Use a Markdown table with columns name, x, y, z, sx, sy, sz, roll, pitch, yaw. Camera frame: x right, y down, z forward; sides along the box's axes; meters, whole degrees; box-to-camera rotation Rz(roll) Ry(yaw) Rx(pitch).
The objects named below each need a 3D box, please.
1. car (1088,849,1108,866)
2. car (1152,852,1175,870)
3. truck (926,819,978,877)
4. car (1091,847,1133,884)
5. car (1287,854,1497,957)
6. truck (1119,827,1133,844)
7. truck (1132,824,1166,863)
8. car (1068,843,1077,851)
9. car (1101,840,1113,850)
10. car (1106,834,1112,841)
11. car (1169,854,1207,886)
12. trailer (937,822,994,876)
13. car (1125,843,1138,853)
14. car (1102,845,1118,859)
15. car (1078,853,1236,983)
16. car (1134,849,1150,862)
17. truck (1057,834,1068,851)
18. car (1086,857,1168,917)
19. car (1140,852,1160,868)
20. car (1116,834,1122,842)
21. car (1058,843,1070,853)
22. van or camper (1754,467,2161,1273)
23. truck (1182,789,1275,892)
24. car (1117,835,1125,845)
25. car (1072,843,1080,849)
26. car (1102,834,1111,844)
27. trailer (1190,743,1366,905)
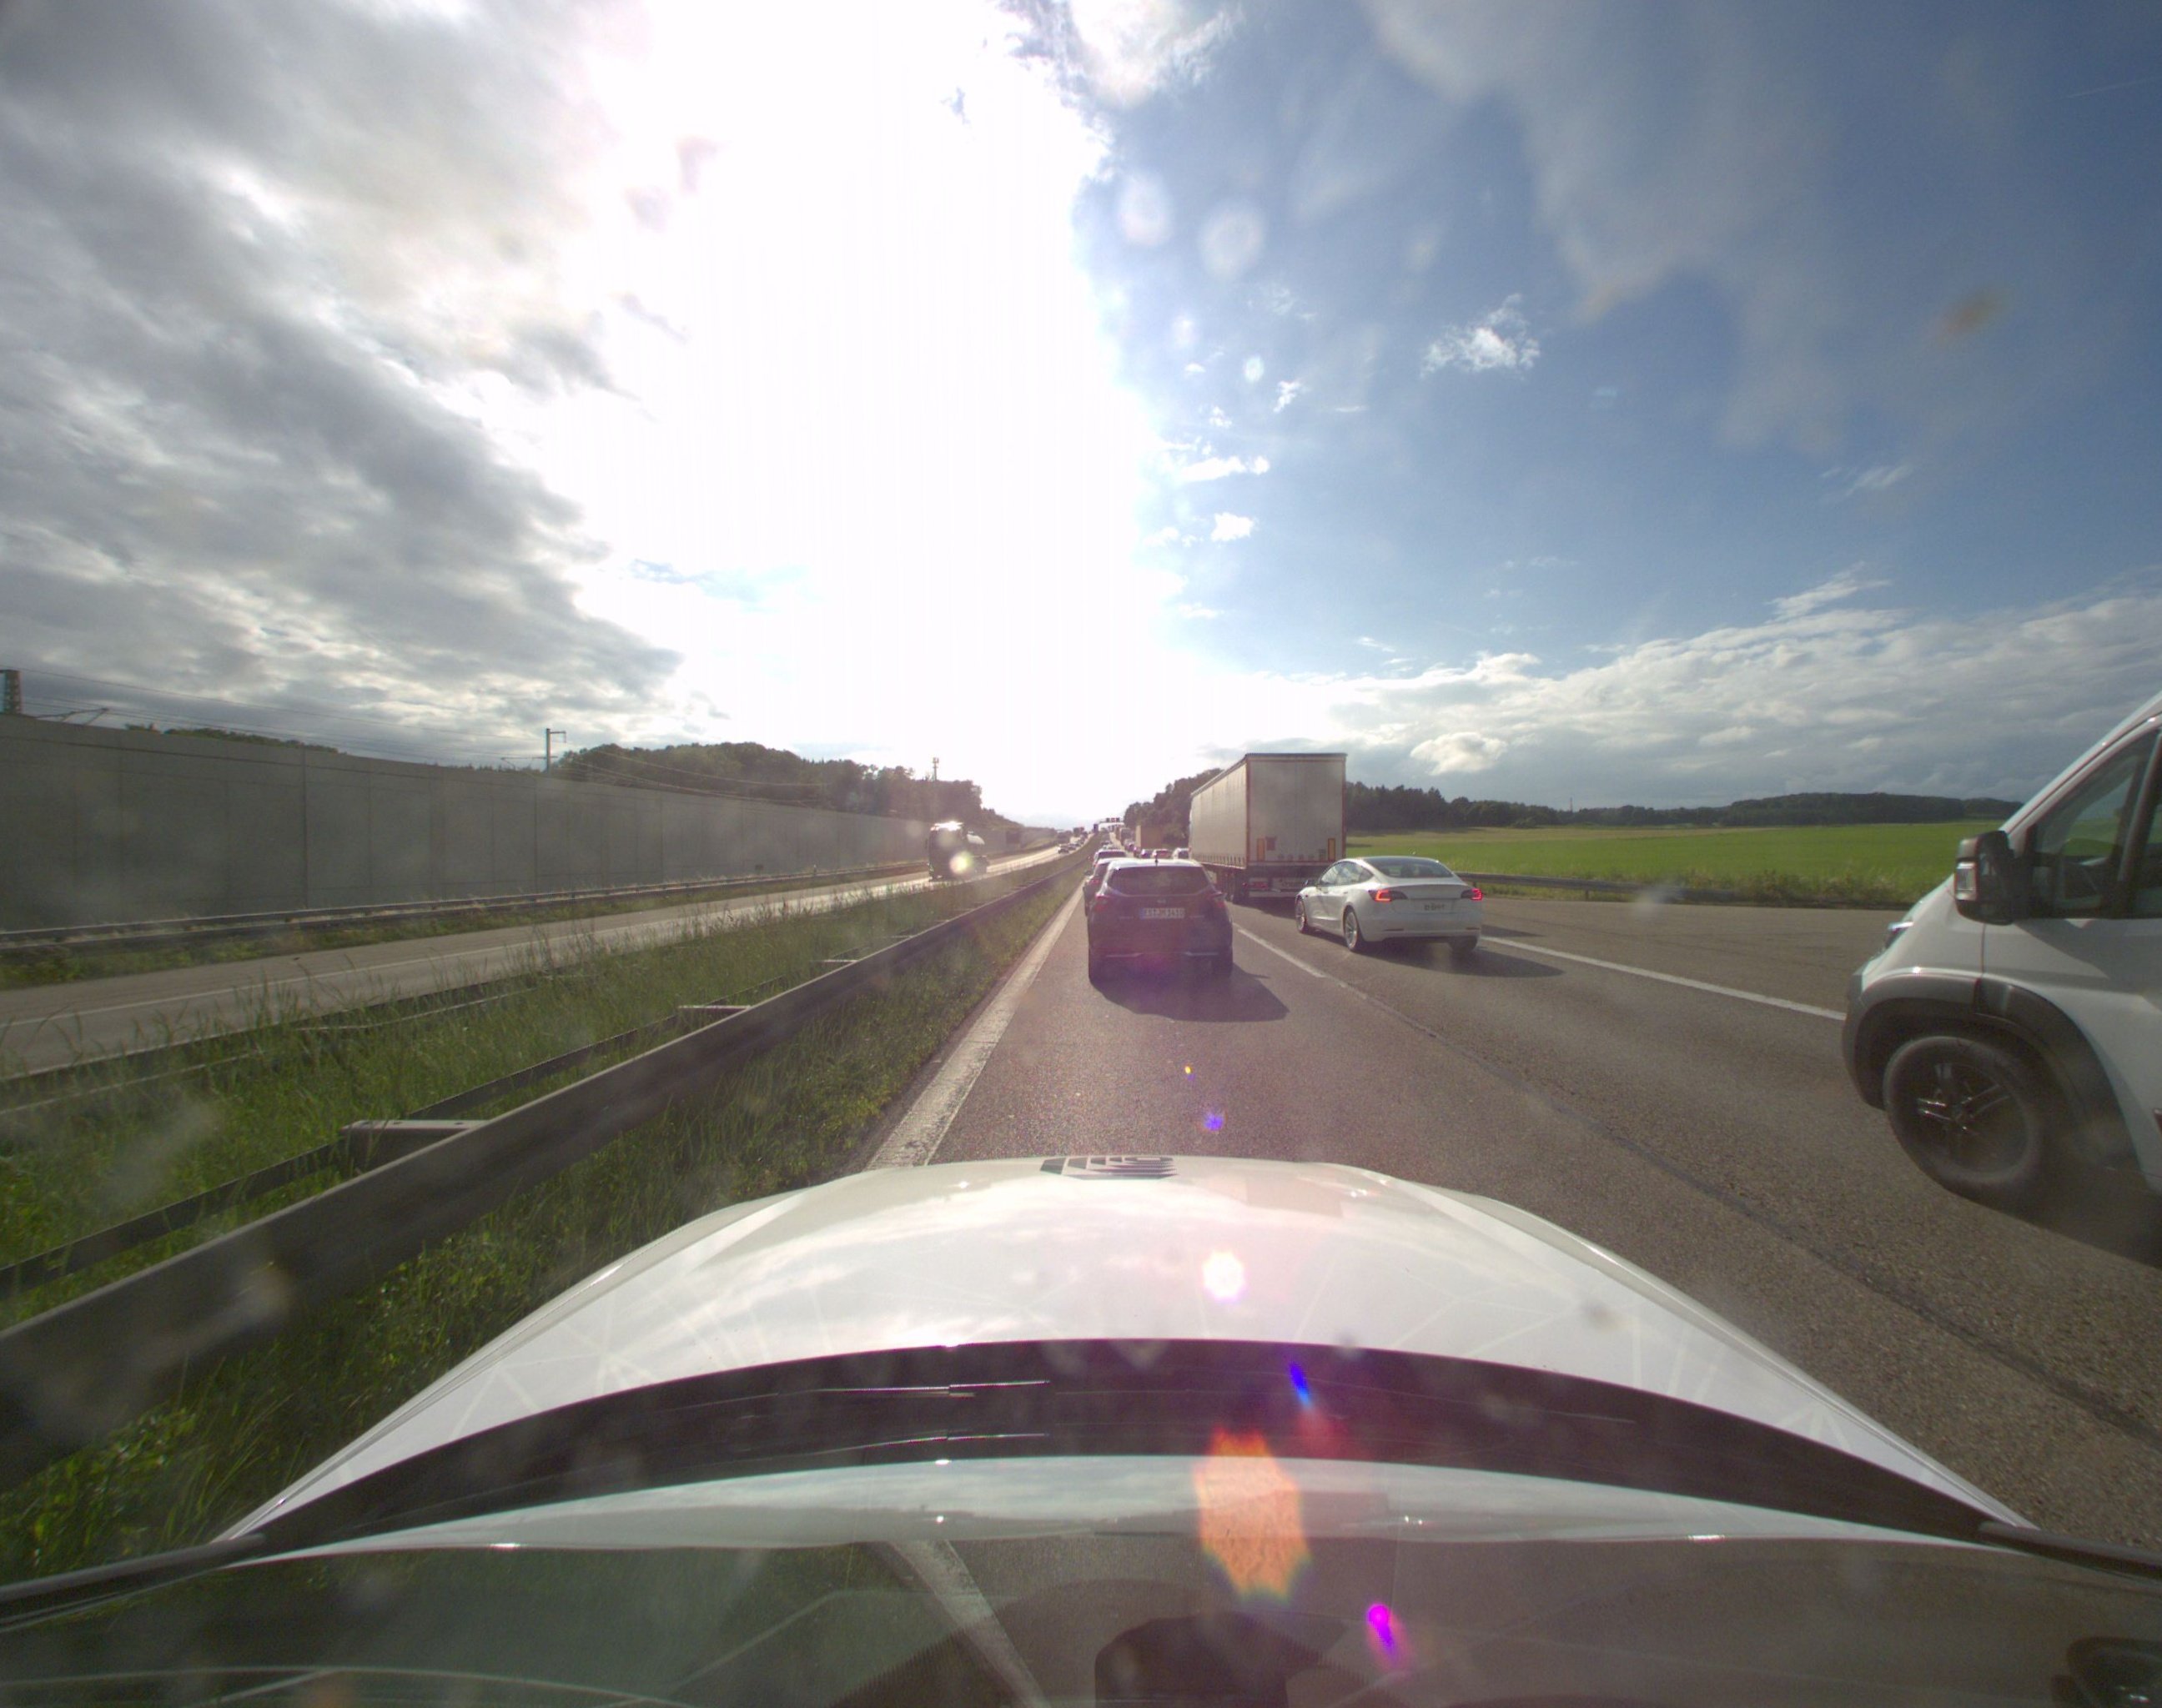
| name | x | y | z | sx | sy | sz | roll | pitch | yaw |
| --- | --- | --- | --- | --- | --- | --- | --- | --- | --- |
| car | 1.745 | 0.326 | 81.058 | 1.866 | 1.644 | 4.234 | -1 | 1 | 2 |
| car | 7.826 | 0.626 | 77.827 | 1.866 | 1.644 | 4.234 | -1 | 0 | 2 |
| truck | -9.320 | -0.399 | 59.521 | 2.573 | 3.923 | 5.724 | -2 | 0 | 2 |
| car | 1.458 | 0.531 | 38.656 | 1.866 | 1.644 | 4.234 | -1 | 0 | 2 |
| car | 4.881 | 0.714 | 13.535 | 1.783 | 1.394 | 4.436 | -1 | 0 | 0 |
| truck | 12.464 | -4.980 | 225.828 | 3.452 | 4.576 | 12.442 | 0 | 1 | 1 |
| truck | 8.258 | -1.167 | 100.714 | 3.286 | 4.577 | 12.440 | 0 | -1 | 1 |
| car | -1.757 | -1.474 | 172.346 | 1.691 | 1.499 | 4.428 | -1 | 0 | 1 |
| car | 4.488 | -1.567 | 141.272 | 1.867 | 1.644 | 4.233 | -1 | 1 | 1 |
| car | 8.626 | -5.162 | 251.767 | 1.866 | 2.158 | 5.214 | -1 | 3 | 2 |
| car | 5.811 | 0.843 | 44.604 | 1.690 | 1.610 | 4.440 | -1 | 0 | 3 |
| trailer | -9.145 | -0.340 | 65.663 | 2.579 | 3.902 | 10.867 | -2 | 0 | 1 |
| car | 8.916 | -1.048 | 143.077 | 1.868 | 1.644 | 4.230 | -1 | 1 | -1 |
| car | 3.536 | -0.242 | 100.169 | 1.866 | 1.644 | 4.235 | -1 | 1 | 2 |
| car | 0.936 | 0.740 | 11.408 | 1.766 | 1.451 | 4.234 | -1 | 0 | 2 |
| car | 8.416 | 0.220 | 111.901 | 1.867 | 1.644 | 4.231 | -1 | 0 | 0 |
| truck | -4.767 | -2.914 | 206.080 | 2.371 | 4.181 | 5.934 | -2 | 0 | 2 |
| car | 1.139 | 0.776 | 21.057 | 1.866 | 1.358 | 4.234 | -1 | 0 | 2 |
| car | 7.372 | 0.643 | 87.278 | 1.866 | 1.644 | 4.234 | -1 | 0 | 2 |
| car | 11.813 | -5.046 | 255.278 | 1.866 | 2.158 | 5.214 | -1 | 3 | 2 |
| car | -3.110 | -1.131 | 149.203 | 1.774 | 1.737 | 4.104 | -1 | 0 | 2 |
| van or camper | 4.662 | 0.031 | 1.173 | 2.207 | 2.681 | 6.334 | -1 | 0 | 1 |
| truck | 6.101 | -0.491 | 34.516 | 3.121 | 4.016 | 5.166 | -1 | -1 | 2 |
| car | 9.915 | -3.470 | 200.206 | 1.866 | 2.158 | 5.214 | -1 | 3 | 2 |
| car | -1.300 | -1.933 | 200.673 | 1.762 | 1.479 | 3.831 | -1 | -1 | 2 |
| car | 5.742 | -3.368 | 184.943 | 1.866 | 2.158 | 5.214 | -1 | 3 | 2 |
| trailer | 5.798 | -0.621 | 27.021 | 3.118 | 4.011 | 13.373 | -1 | -1 | 2 |
